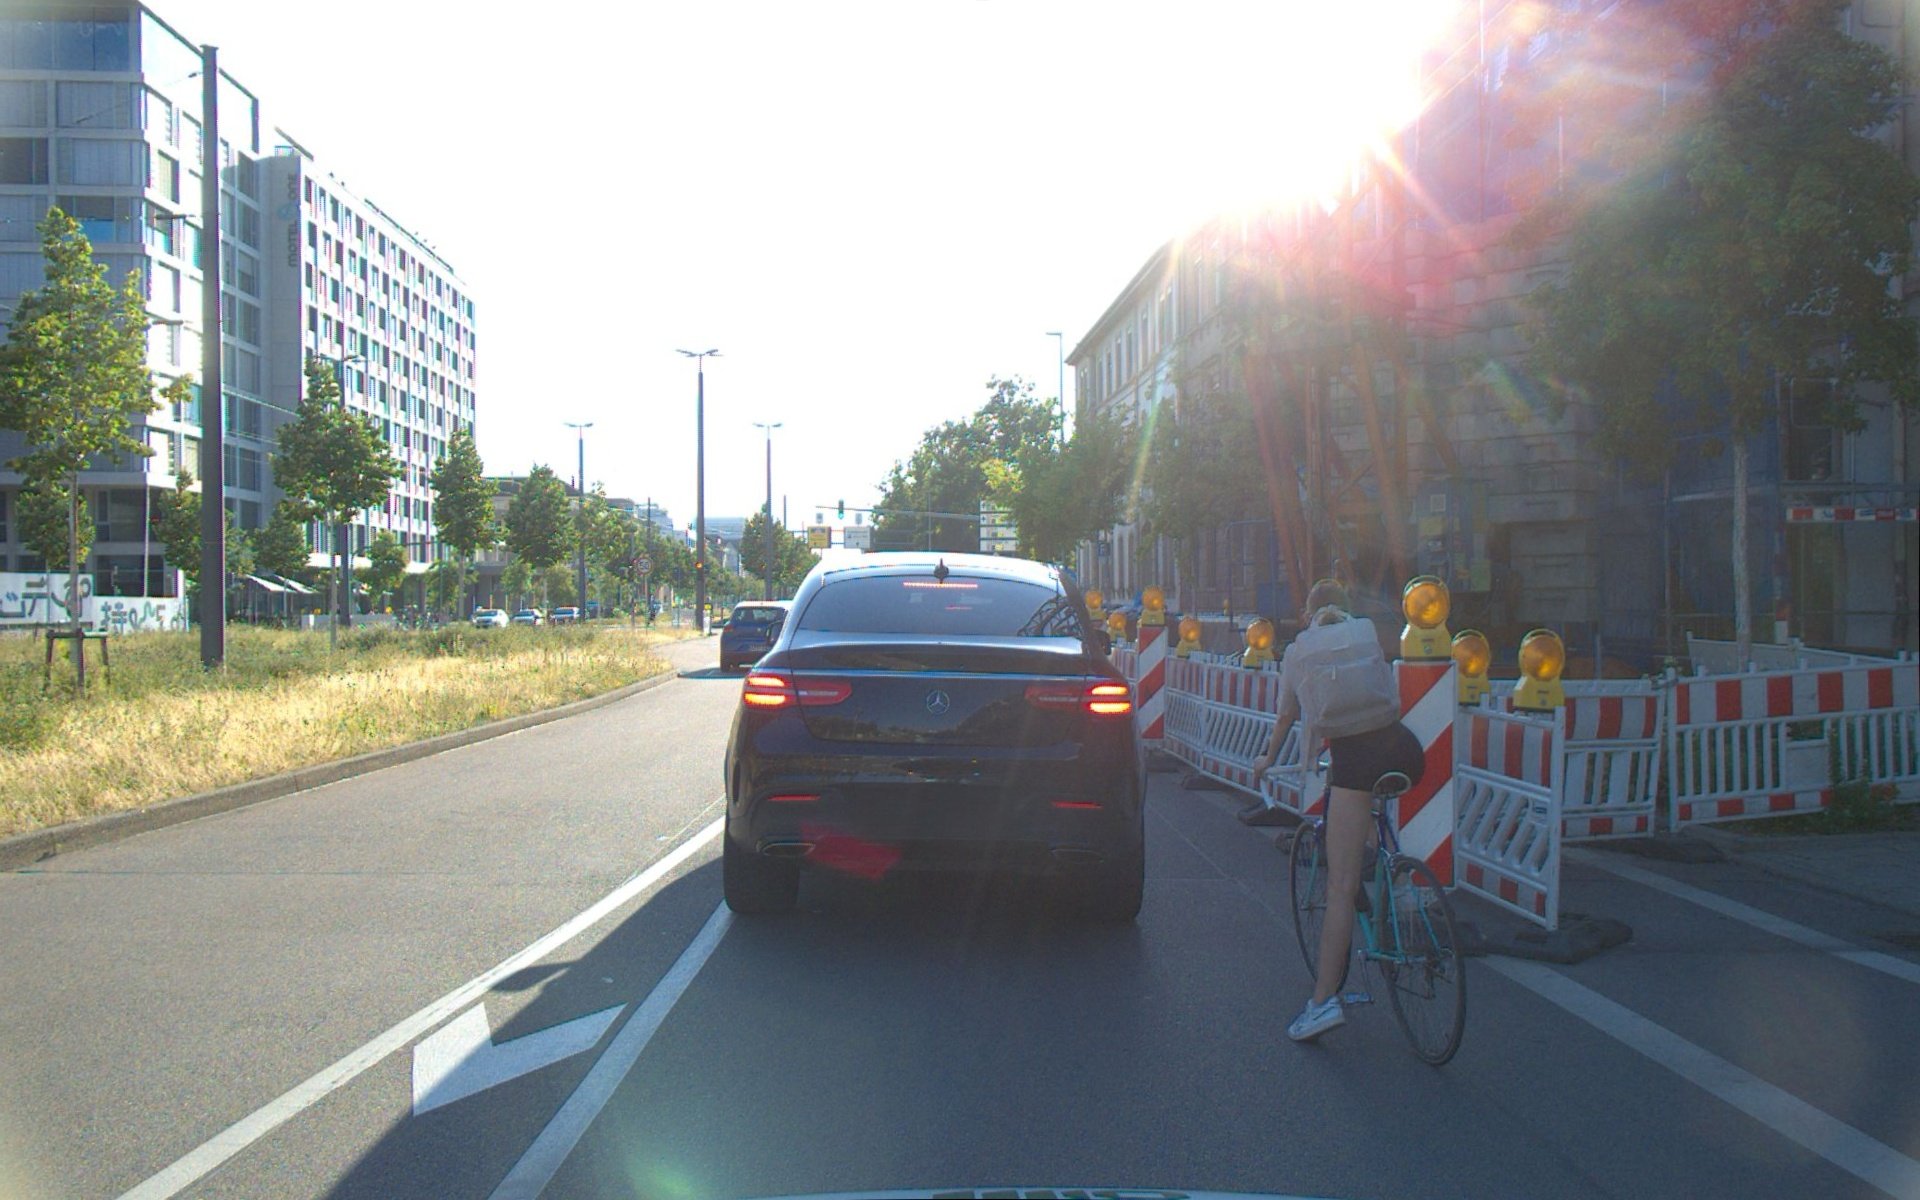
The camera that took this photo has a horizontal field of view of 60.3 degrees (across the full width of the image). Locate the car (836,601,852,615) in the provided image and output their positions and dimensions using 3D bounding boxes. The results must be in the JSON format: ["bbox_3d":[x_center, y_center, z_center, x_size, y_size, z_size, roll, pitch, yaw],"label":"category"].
[{"bbox_3d":[-12.861,0.905,183.767,1.674,1.467,3.580,1,0,-3],"label":"car"}]

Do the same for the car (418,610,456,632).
[{"bbox_3d":[-36.977,1.485,116.978,1.674,1.467,3.580,1,0,-3],"label":"car"}]

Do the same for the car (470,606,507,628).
[{"bbox_3d":[-32.778,1.157,114.987,1.674,1.467,3.580,1,0,-3],"label":"car"}]

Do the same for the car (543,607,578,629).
[{"bbox_3d":[-27.583,1.242,114.385,1.674,1.467,3.580,1,0,-3],"label":"car"}]

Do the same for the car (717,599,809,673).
[{"bbox_3d":[-4.157,0.739,35.355,1.674,1.467,3.580,1,0,-3],"label":"car"}]

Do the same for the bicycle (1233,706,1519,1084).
[{"bbox_3d":[1.444,0.977,6.029,0.502,1.070,1.724,1,0,-3],"label":"bicycle"}]

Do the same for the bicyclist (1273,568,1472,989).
[{"bbox_3d":[1.455,0.608,5.906,0.512,1.420,0.614,1,-1,-4],"label":"bicyclist"}]

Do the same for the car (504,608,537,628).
[{"bbox_3d":[-33.358,1.326,125.623,1.674,1.467,3.580,1,0,-3],"label":"car"}]

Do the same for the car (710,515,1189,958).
[{"bbox_3d":[-0.066,0.574,8.835,1.953,1.803,3.999,1,0,-1],"label":"car"}]

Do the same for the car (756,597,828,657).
[{"bbox_3d":[-4.343,0.690,43.182,1.674,1.467,3.580,1,0,-3],"label":"car"}]
